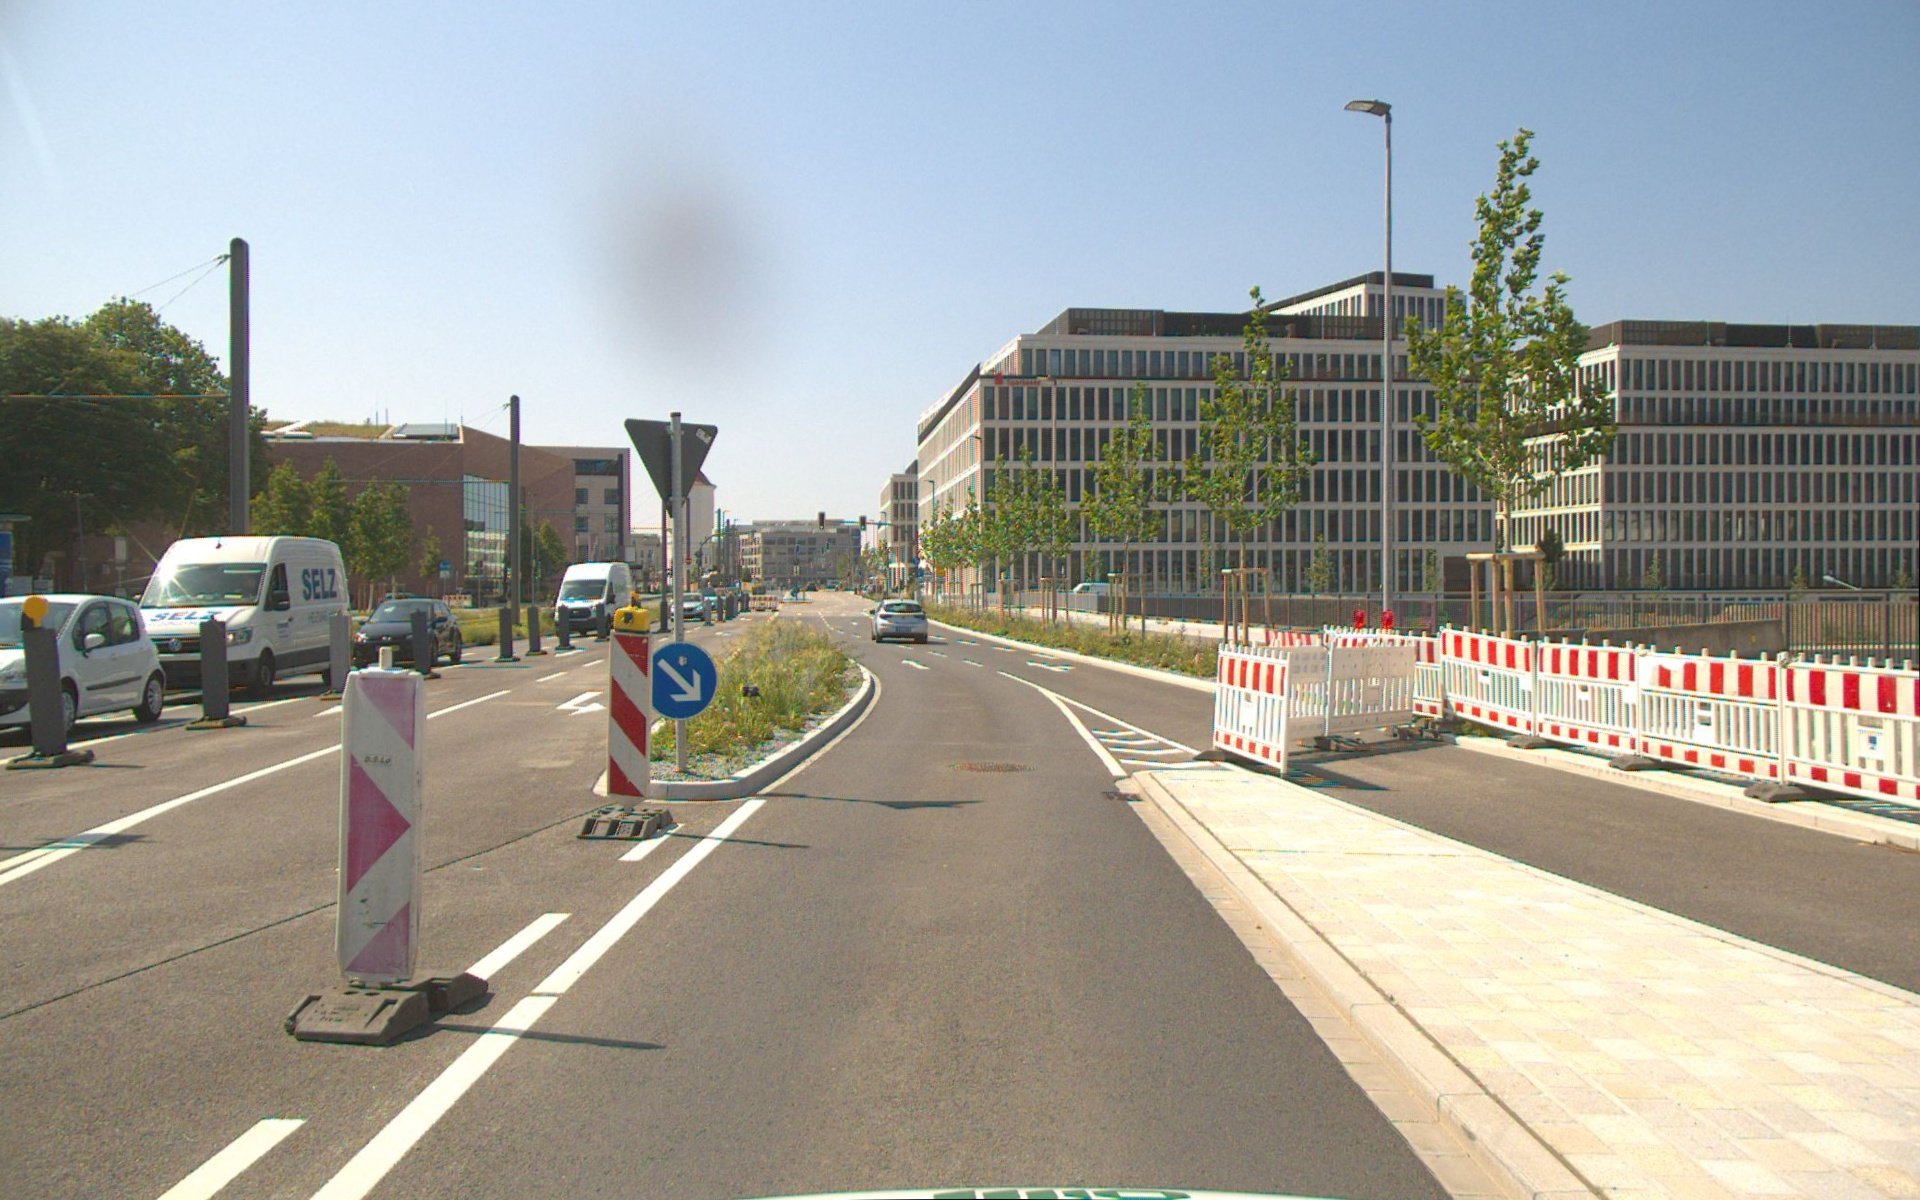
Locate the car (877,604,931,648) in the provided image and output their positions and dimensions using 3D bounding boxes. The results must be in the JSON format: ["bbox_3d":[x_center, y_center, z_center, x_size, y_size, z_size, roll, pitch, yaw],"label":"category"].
[{"bbox_3d":[-1.961,0.900,56.929,1.736,1.419,3.529,1,-1,-4],"label":"car"}]

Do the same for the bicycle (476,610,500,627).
[{"bbox_3d":[-41.927,1.658,146.904,2.018,1.478,0.537,0,0,-17],"label":"bicycle"}]

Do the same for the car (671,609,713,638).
[{"bbox_3d":[-14.203,1.230,87.883,1.640,1.468,4.466,-2,0,-3],"label":"car"}]

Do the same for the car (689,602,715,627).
[{"bbox_3d":[-16.795,0.931,107.637,1.551,1.557,3.614,-2,0,-8],"label":"car"}]

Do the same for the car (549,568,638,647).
[{"bbox_3d":[-13.999,0.270,63.566,2.035,2.788,5.985,-2,0,-1],"label":"car"}]

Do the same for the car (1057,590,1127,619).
[{"bbox_3d":[11.395,0.376,143.301,5.724,2.310,2.144,2,0,-6],"label":"car"}]

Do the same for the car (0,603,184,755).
[{"bbox_3d":[-10.565,0.856,19.132,1.550,1.568,3.973,-3,0,-5],"label":"car"}]

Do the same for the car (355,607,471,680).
[{"bbox_3d":[-12.316,0.934,37.474,1.515,1.482,4.188,-2,0,-5],"label":"car"}]

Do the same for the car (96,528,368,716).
[{"bbox_3d":[-11.655,0.321,27.065,1.991,2.623,6.189,-3,0,-4],"label":"car"}]

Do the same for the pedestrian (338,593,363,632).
[{"bbox_3d":[-31.937,0.642,86.725,0.963,2.049,0.909,1,0,-3],"label":"pedestrian"}]

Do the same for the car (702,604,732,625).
[{"bbox_3d":[-17.440,0.999,118.860,1.548,1.441,4.295,-1,0,-1],"label":"car"}]
